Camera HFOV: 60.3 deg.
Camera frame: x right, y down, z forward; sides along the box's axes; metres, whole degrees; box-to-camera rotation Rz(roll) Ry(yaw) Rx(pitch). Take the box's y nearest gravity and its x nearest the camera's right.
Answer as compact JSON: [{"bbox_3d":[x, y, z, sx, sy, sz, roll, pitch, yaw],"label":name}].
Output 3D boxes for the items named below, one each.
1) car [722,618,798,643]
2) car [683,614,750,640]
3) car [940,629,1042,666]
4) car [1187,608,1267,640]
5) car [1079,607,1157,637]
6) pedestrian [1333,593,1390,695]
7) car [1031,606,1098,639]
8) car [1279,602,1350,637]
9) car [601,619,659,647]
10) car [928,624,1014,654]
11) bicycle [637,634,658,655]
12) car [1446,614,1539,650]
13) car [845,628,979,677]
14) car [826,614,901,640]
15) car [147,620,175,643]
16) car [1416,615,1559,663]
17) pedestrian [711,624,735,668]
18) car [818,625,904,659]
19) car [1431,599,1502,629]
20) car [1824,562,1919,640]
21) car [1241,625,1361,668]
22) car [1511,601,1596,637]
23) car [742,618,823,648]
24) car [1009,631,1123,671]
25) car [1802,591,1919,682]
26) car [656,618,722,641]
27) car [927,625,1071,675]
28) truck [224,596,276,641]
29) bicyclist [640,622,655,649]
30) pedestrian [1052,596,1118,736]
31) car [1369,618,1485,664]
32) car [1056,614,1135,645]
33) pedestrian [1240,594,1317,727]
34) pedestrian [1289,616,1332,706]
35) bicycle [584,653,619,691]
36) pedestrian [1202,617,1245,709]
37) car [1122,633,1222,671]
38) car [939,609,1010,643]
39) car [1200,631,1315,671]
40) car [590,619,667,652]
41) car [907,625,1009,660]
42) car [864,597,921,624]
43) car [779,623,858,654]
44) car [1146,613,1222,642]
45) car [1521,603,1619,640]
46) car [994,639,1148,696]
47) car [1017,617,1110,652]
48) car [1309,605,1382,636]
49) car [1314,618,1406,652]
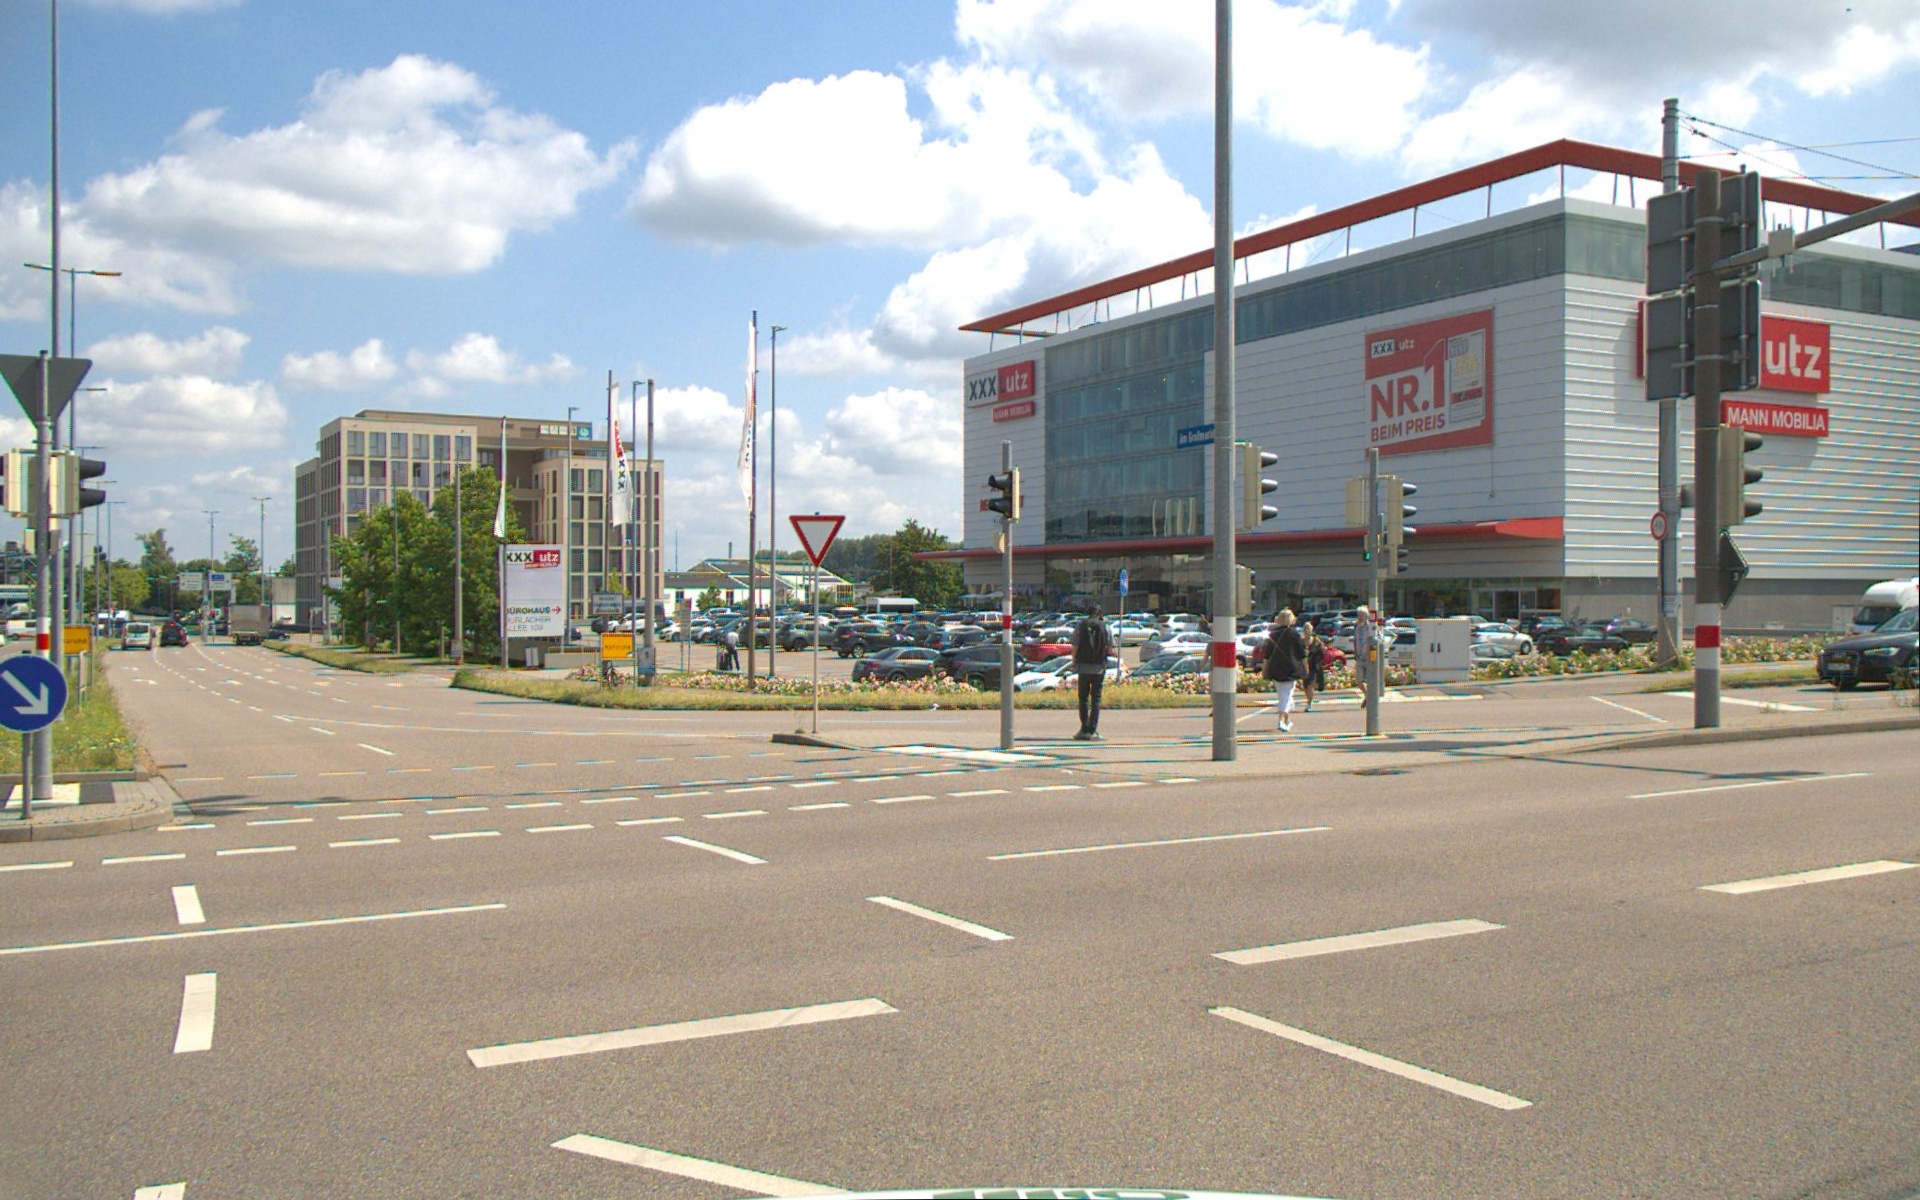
[{"bbox_3d":[-12.281,1.854,101.444,4.312,1.348,1.747,-1,1,-30],"label":"car"},{"bbox_3d":[-16.081,1.762,109.173,3.946,1.598,1.979,-1,0,-31],"label":"car"},{"bbox_3d":[1.384,2.108,73.651,4.306,1.467,1.613,-1,1,-27],"label":"car"},{"bbox_3d":[13.836,1.232,85.696,3.972,1.615,1.678,0,0,-30],"label":"car"},{"bbox_3d":[8.756,1.200,91.414,4.113,1.537,1.687,-1,0,-32],"label":"car"},{"bbox_3d":[7.051,0.771,29.073,0.676,1.758,0.697,0,-2,-17],"label":"pedestrian"},{"bbox_3d":[6.866,1.442,108.344,3.942,2.049,1.981,-1,0,-29],"label":"car"},{"bbox_3d":[21.700,1.190,101.246,3.945,2.049,1.980,-1,0,-30],"label":"car"},{"bbox_3d":[-25.291,2.515,126.774,3.941,2.049,1.982,-1,0,-28],"label":"car"},{"bbox_3d":[0.596,2.050,87.412,4.241,1.452,1.743,0,1,-28],"label":"car"},{"bbox_3d":[-16.756,2.382,88.653,0.616,1.086,1.950,0,0,-27],"label":"bicycle"},{"bbox_3d":[24.145,1.448,74.963,3.946,1.557,1.900,1,0,-31],"label":"car"},{"bbox_3d":[-1.674,1.808,57.681,4.307,1.502,1.841,-1,1,-27],"label":"car"},{"bbox_3d":[-5.828,1.644,99.687,4.194,1.490,1.743,1,0,-30],"label":"car"},{"bbox_3d":[-66.398,2.627,137.488,1.795,1.840,3.972,2,-1,-23],"label":"car"},{"bbox_3d":[17.395,1.257,54.542,4.306,1.433,2.031,-1,0,-27],"label":"car"},{"bbox_3d":[-10.079,1.952,70.342,0.851,1.813,0.784,1,-1,2],"label":"pedestrian"},{"bbox_3d":[-5.000,2.125,83.721,4.014,1.558,1.723,-1,0,-32],"label":"car"},{"bbox_3d":[27.664,0.748,90.388,3.599,1.549,1.665,-1,0,-28],"label":"car"},{"bbox_3d":[40.954,-0.014,70.711,7.782,3.209,3.097,-1,0,-26],"label":"car"},{"bbox_3d":[13.053,1.751,63.305,4.306,1.452,1.831,-1,1,-27],"label":"car"},{"bbox_3d":[30.692,0.985,85.590,3.938,1.769,1.983,1,0,-27],"label":"car"},{"bbox_3d":[-10.424,1.907,97.224,4.312,1.601,2.010,-1,1,-30],"label":"car"},{"bbox_3d":[4.285,2.042,67.013,4.306,1.386,1.831,-1,1,-27],"label":"car"},{"bbox_3d":[17.507,0.599,29.539,4.113,1.509,1.911,-1,0,-11],"label":"car"},{"bbox_3d":[-18.566,1.992,113.325,4.142,1.413,1.873,-1,1,-32],"label":"car"},{"bbox_3d":[1.266,1.579,53.078,4.309,1.441,1.840,-1,0,-28],"label":"car"},{"bbox_3d":[-65.976,1.677,153.784,3.077,4.009,8.823,1,0,-15],"label":"truck"},{"bbox_3d":[-16.734,1.885,88.637,0.608,1.437,0.708,0,0,-28],"label":"bicyclist"},{"bbox_3d":[1.668,0.866,22.140,0.802,1.834,0.760,-1,0,-1],"label":"pedestrian"},{"bbox_3d":[17.309,1.493,61.308,4.183,1.615,1.833,0,0,-32],"label":"car"},{"bbox_3d":[7.699,1.653,93.710,4.181,1.615,1.834,-1,1,-30],"label":"car"},{"bbox_3d":[4.460,0.835,23.236,0.842,1.796,0.866,-2,0,-1],"label":"pedestrian"},{"bbox_3d":[6.147,1.062,29.003,0.575,1.550,0.466,-1,0,-20],"label":"pedestrian"},{"bbox_3d":[-9.581,1.921,44.232,0.511,0.969,1.529,1,-2,-28],"label":"bicycle"},{"bbox_3d":[4.497,1.073,28.249,0.546,1.550,0.467,1,-1,-20],"label":"pedestrian"},{"bbox_3d":[8.847,2.168,68.934,3.976,1.386,1.589,-1,1,-27],"label":"car"},{"bbox_3d":[0.913,1.603,102.730,3.941,2.049,1.982,1,0,-28],"label":"car"},{"bbox_3d":[11.822,2.004,65.634,4.306,1.386,1.831,-1,1,-27],"label":"car"},{"bbox_3d":[-26.152,2.773,130.384,5.599,2.407,2.041,-1,0,-30],"label":"car"},{"bbox_3d":[-0.101,1.910,75.441,4.306,1.386,1.831,-1,1,-27],"label":"car"},{"bbox_3d":[-5.217,0.801,127.752,3.942,1.985,1.982,1,0,-28],"label":"car"},{"bbox_3d":[-7.961,2.159,93.072,4.138,1.579,1.747,-1,1,-30],"label":"car"},{"bbox_3d":[13.051,1.586,96.333,4.292,1.537,1.689,-1,0,-29],"label":"car"},{"bbox_3d":[26.103,0.929,70.738,3.946,1.466,1.900,2,-1,-31],"label":"car"},{"bbox_3d":[3.321,1.974,49.236,4.309,1.465,1.780,-1,0,-28],"label":"car"},{"bbox_3d":[4.927,1.615,78.736,4.102,1.534,1.809,-1,0,-28],"label":"car"},{"bbox_3d":[23.039,1.199,98.859,3.945,1.754,1.980,-1,0,-30],"label":"car"},{"bbox_3d":[17.992,1.573,74.332,3.941,1.477,1.653,1,0,-28],"label":"car"}]
